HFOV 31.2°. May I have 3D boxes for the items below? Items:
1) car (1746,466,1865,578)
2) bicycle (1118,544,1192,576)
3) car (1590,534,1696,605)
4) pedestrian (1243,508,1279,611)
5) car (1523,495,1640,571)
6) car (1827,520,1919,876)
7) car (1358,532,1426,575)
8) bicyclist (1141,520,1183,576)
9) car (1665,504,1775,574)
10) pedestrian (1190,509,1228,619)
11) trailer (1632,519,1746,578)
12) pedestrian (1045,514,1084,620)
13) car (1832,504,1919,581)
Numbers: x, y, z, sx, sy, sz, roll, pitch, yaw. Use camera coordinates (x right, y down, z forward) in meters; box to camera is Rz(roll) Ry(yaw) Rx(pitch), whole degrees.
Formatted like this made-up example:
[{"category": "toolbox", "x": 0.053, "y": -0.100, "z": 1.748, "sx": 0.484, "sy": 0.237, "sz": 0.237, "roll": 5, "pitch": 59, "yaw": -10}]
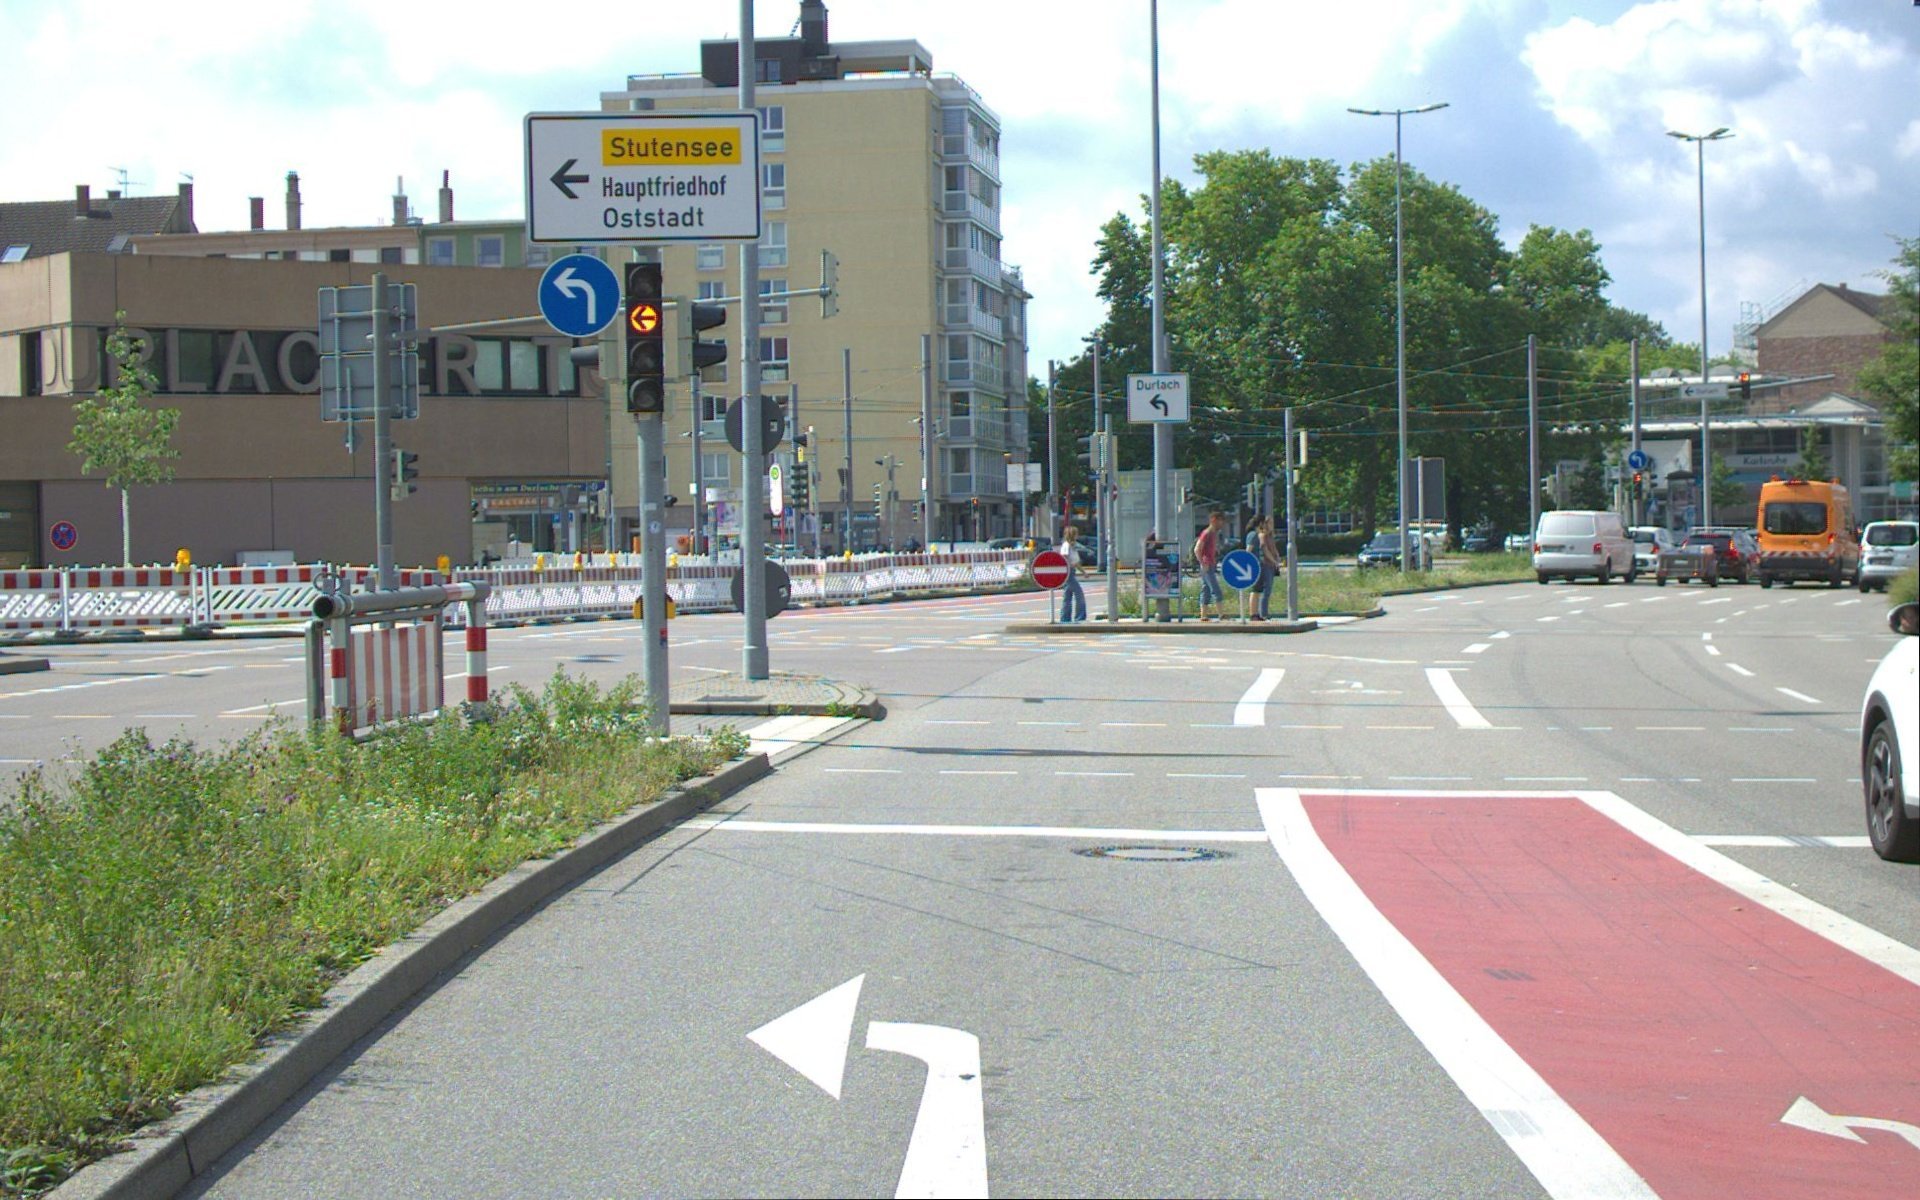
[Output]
[{"category": "car", "x": 21.867, "y": -2.008, "z": 88.805, "sx": 2.132, "sy": 2.771, "sz": 4.633, "roll": -1, "pitch": 1, "yaw": 24}, {"category": "bicycle", "x": 6.719, "y": -1.372, "z": 118.268, "sx": 2.381, "sy": 1.063, "sz": 0.857, "roll": 0, "pitch": 1, "yaw": 21}, {"category": "car", "x": 19.988, "y": -0.908, "z": 100.416, "sx": 1.994, "sy": 1.932, "sz": 4.633, "roll": -1, "pitch": 1, "yaw": 24}, {"category": "pedestrian", "x": 4.952, "y": -0.675, "z": 56.557, "sx": 0.525, "sy": 1.678, "sz": 0.623, "roll": -1, "pitch": 1, "yaw": 10}, {"category": "car", "x": 16.756, "y": -1.814, "z": 92.534, "sx": 2.008, "sy": 1.960, "sz": 4.633, "roll": -1, "pitch": 1, "yaw": 24}, {"category": "car", "x": 5.041, "y": 0.444, "z": 14.476, "sx": 1.791, "sy": 1.534, "sz": 4.011, "roll": 1, "pitch": 1, "yaw": 1}, {"category": "car", "x": 14.360, "y": -1.549, "z": 114.127, "sx": 1.793, "sy": 1.383, "sz": 4.225, "roll": 0, "pitch": 1, "yaw": 13}, {"category": "bicyclist", "x": 6.938, "y": -1.796, "z": 118.180, "sx": 1.221, "sy": 1.903, "sz": 0.857, "roll": 0, "pitch": 1, "yaw": 21}, {"category": "car", "x": 20.606, "y": -1.671, "z": 93.084, "sx": 1.996, "sy": 1.820, "sz": 3.995, "roll": -1, "pitch": 1, "yaw": 26}, {"category": "pedestrian", "x": 3.956, "y": -0.571, "z": 54.558, "sx": 0.525, "sy": 1.727, "sz": 0.623, "roll": -1, "pitch": 1, "yaw": 10}, {"category": "trailer", "x": 19.125, "y": -1.362, "z": 90.090, "sx": 1.996, "sy": 1.472, "sz": 3.995, "roll": -1, "pitch": 1, "yaw": 26}, {"category": "pedestrian", "x": 1.718, "y": -0.542, "z": 56.529, "sx": 0.525, "sy": 1.727, "sz": 0.623, "roll": -1, "pitch": 1, "yaw": 10}, {"category": "car", "x": 22.834, "y": -1.424, "z": 84.295, "sx": 1.996, "sy": 1.788, "sz": 3.995, "roll": -1, "pitch": 1, "yaw": 26}]
